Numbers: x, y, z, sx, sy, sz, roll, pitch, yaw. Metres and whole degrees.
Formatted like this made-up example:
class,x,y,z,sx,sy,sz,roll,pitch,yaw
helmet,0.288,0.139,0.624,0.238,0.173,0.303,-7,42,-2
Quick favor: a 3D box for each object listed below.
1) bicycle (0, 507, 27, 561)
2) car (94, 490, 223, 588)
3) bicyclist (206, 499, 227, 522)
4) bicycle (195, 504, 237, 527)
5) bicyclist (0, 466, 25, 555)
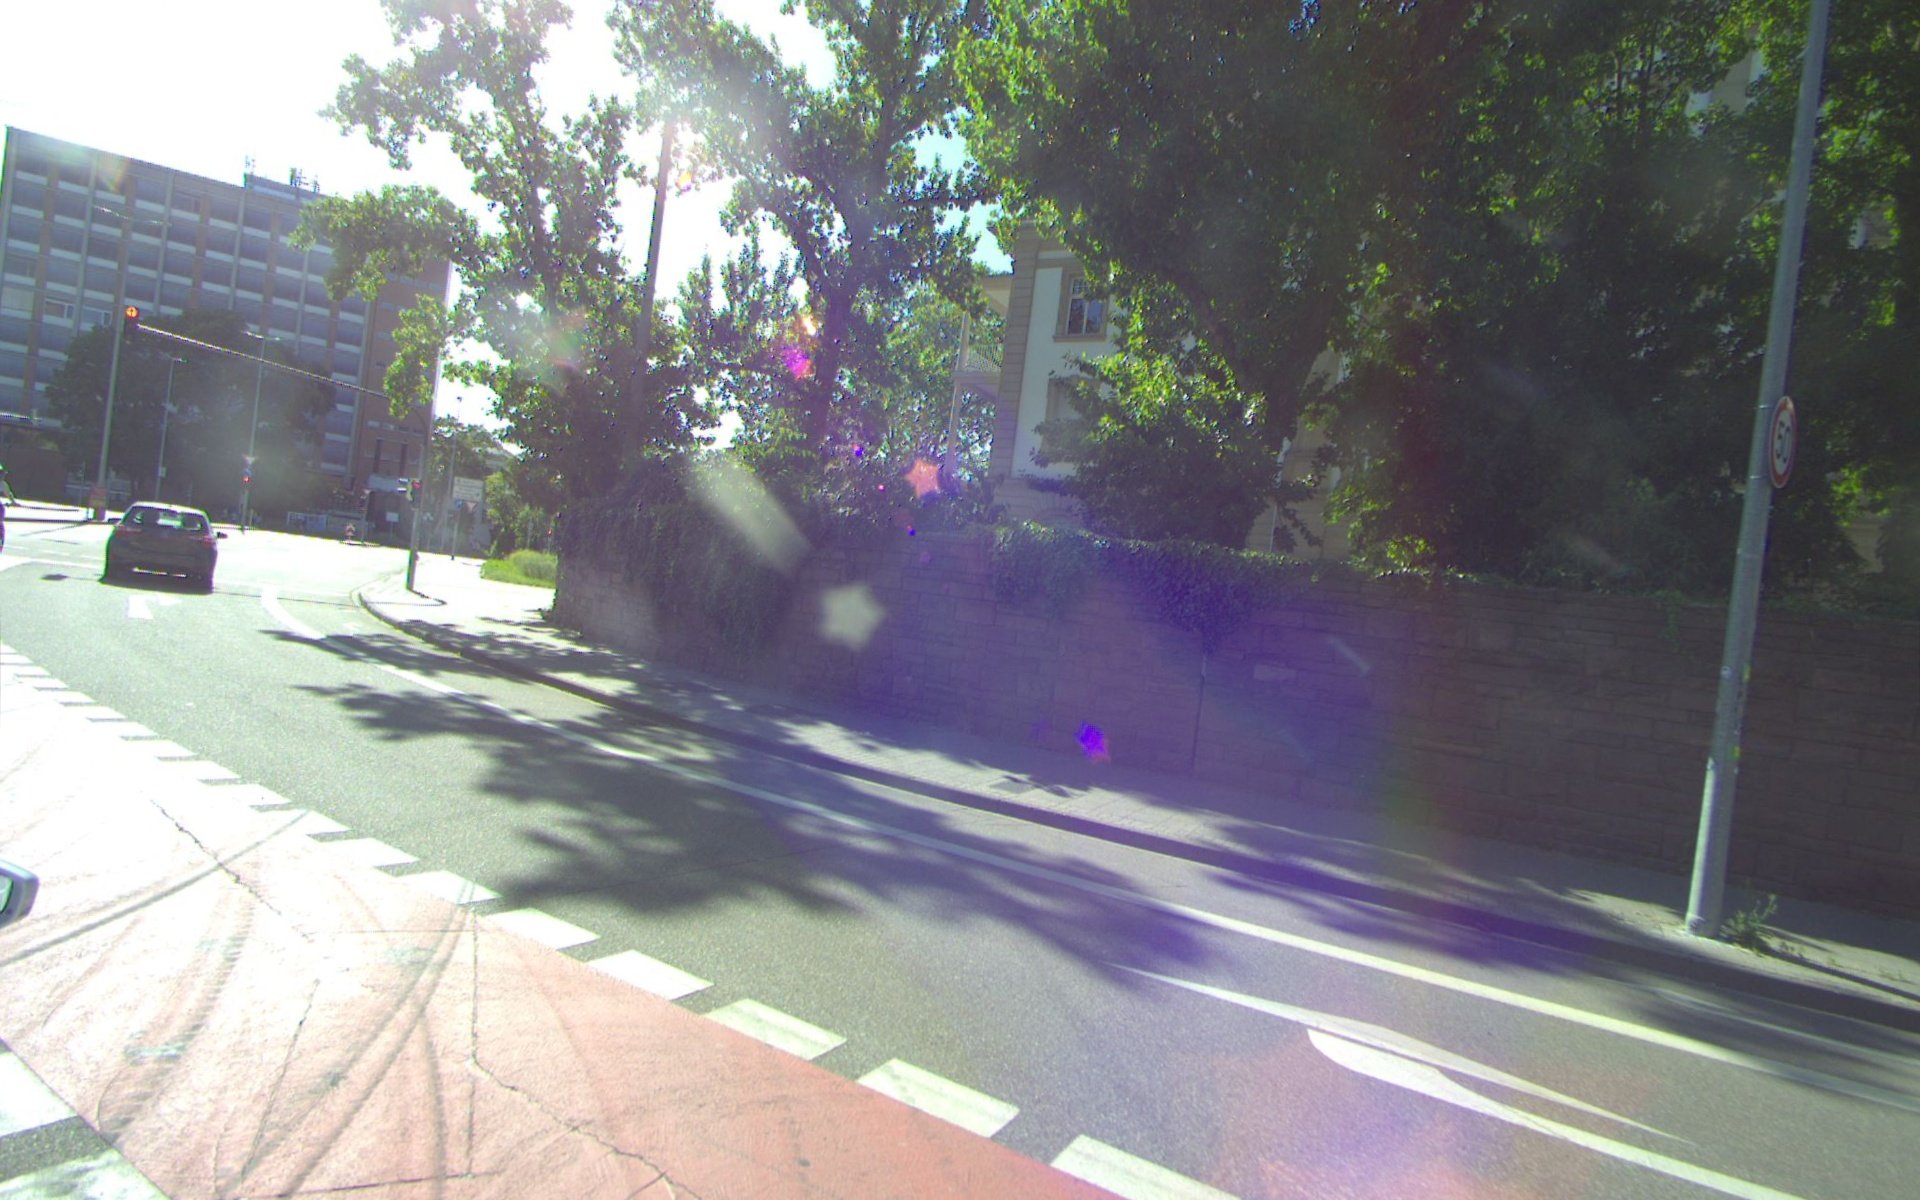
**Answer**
class,x,y,z,sx,sy,sz,roll,pitch,yaw
bicycle,-18.493,-1.297,19.104,0.718,0.971,1.867,9,-1,-33
car,-16.111,-1.247,20.297,1.748,1.560,3.619,8,-1,-38
bicyclist,-66.739,-8.023,90.354,1.145,1.818,0.880,8,-1,-22
bicycle,-66.801,-7.587,90.352,2.774,1.558,0.880,8,-1,-23
bicyclist,-18.305,-1.723,18.912,0.717,1.645,1.045,8,0,-33
